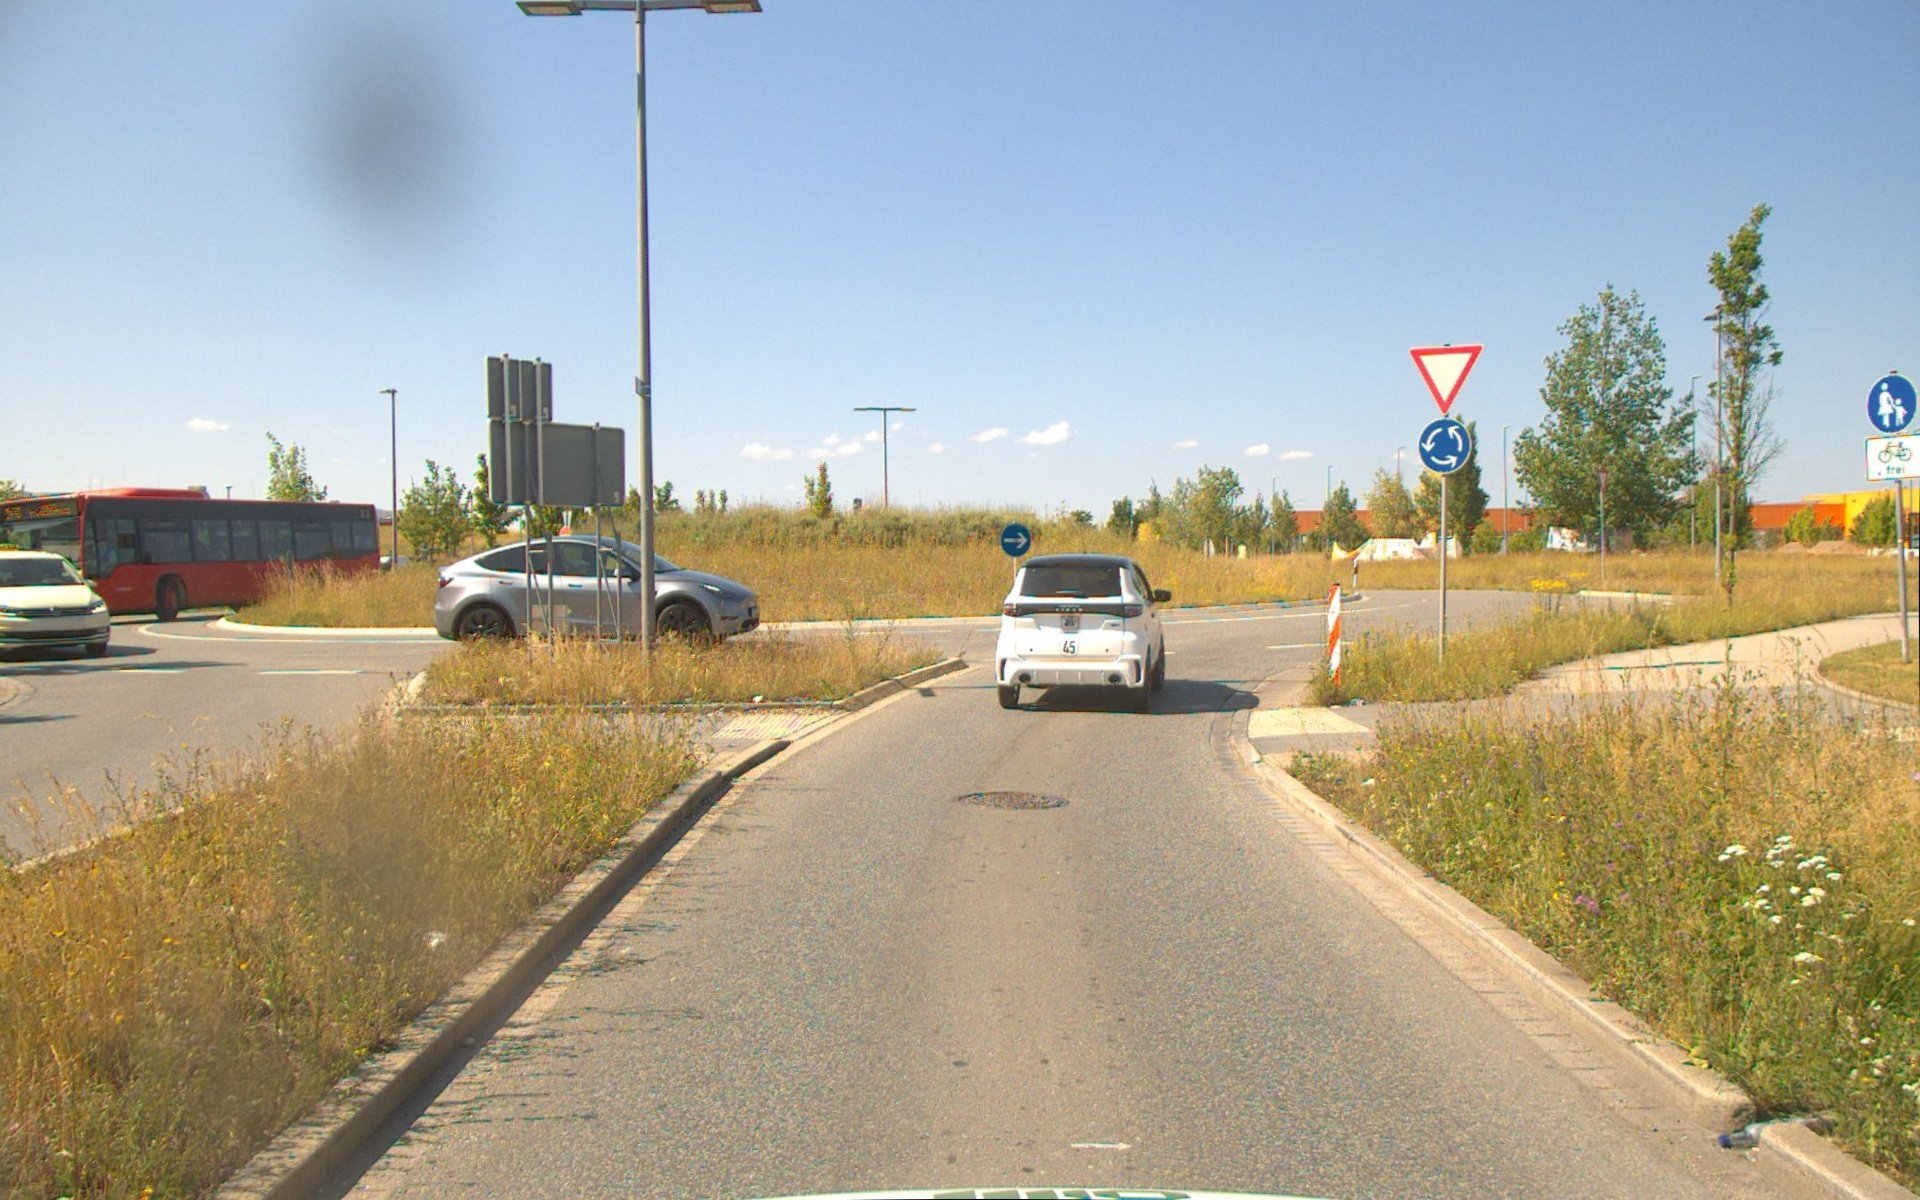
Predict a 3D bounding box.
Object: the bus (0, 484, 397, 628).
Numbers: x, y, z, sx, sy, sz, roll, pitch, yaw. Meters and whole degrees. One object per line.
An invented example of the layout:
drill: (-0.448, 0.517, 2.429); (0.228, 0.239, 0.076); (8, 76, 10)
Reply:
bus: (-19.242, -1.247, 42.907); (2.727, 3.132, 12.217); (-1, 2, 12)

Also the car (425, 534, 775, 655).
car: (-5.112, -0.103, 23.841); (4.511, 1.654, 1.966); (0, 2, 7)

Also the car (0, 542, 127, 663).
car: (-14.942, 0.028, 26.126); (1.834, 1.694, 4.514); (-4, 3, -44)

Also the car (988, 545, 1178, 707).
car: (1.399, 0.186, 17.498); (1.582, 1.459, 3.797); (0, 3, 11)
